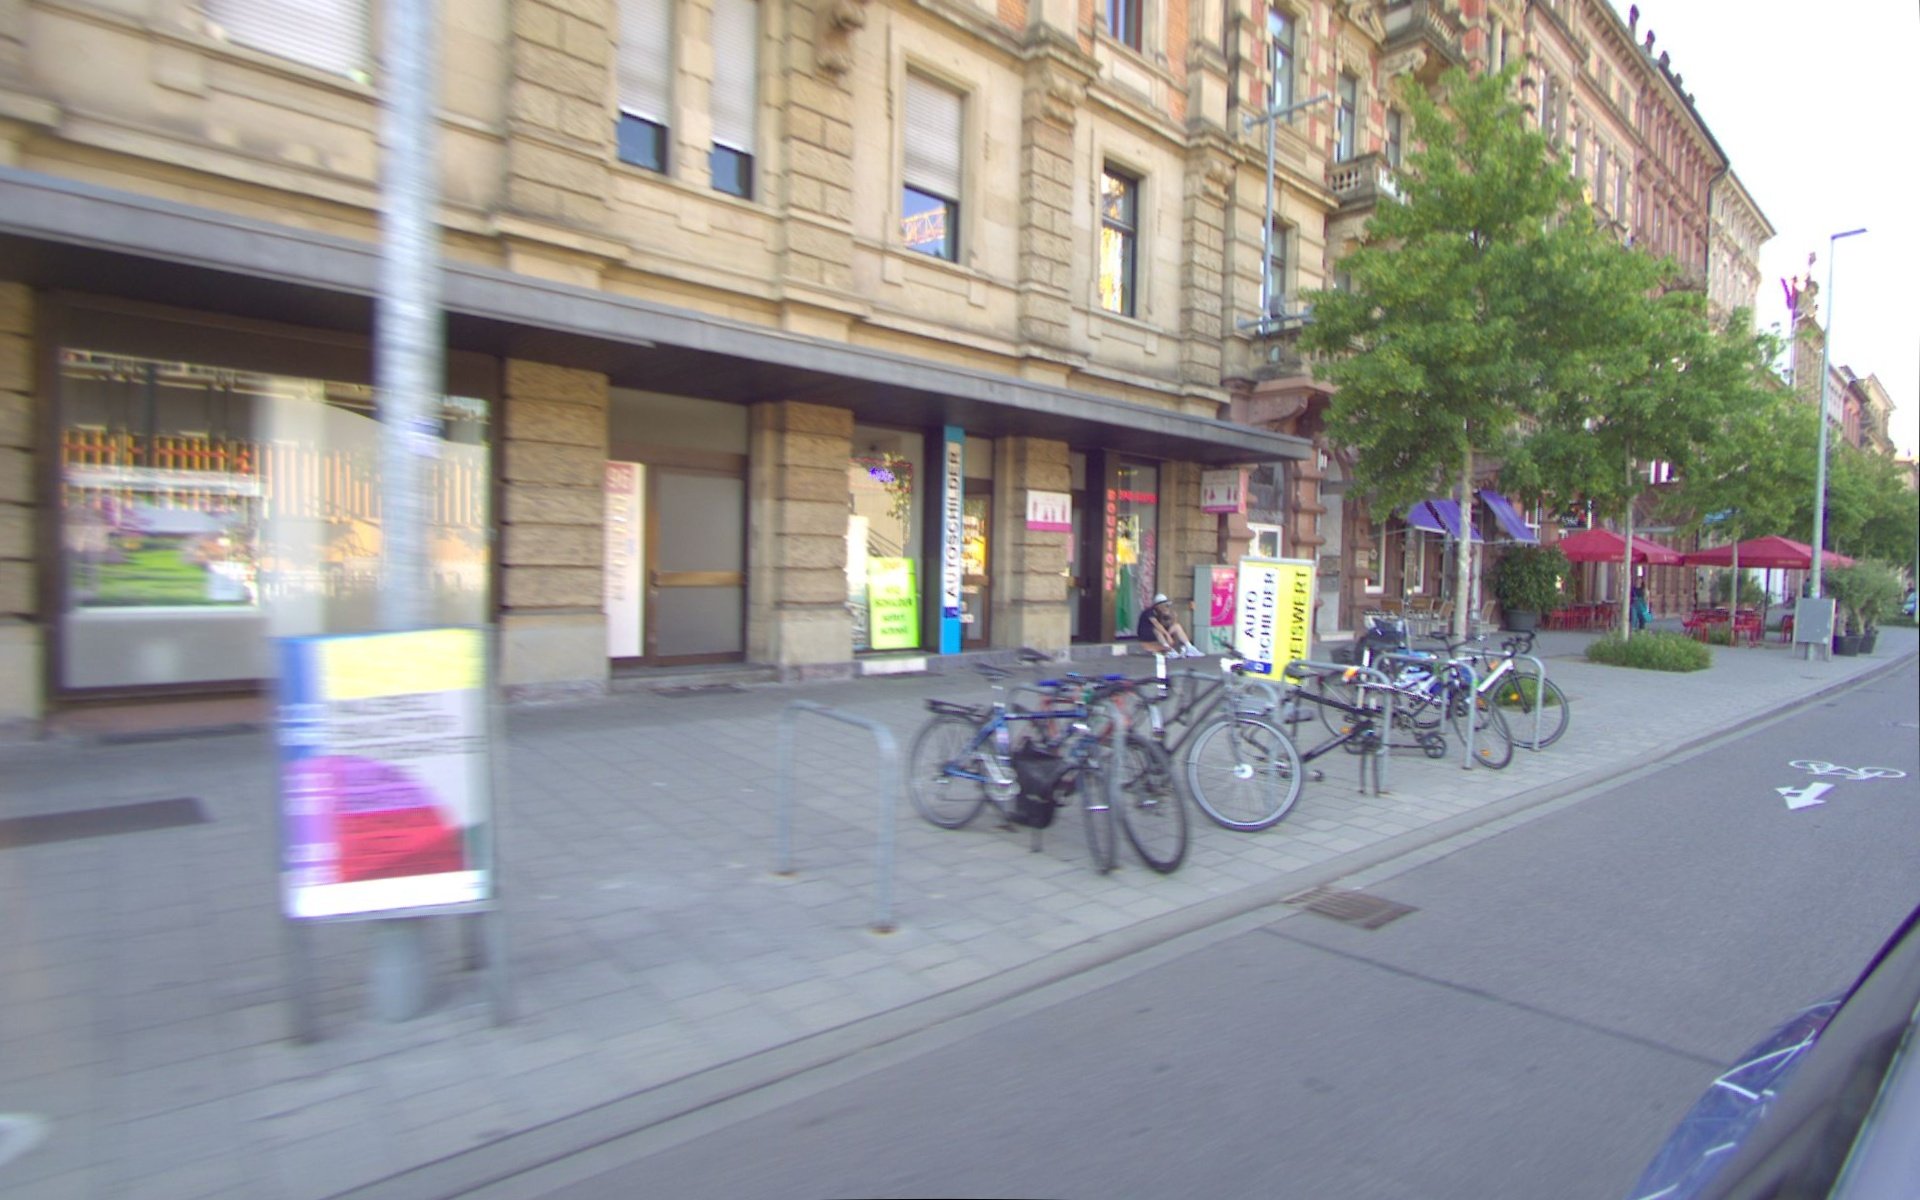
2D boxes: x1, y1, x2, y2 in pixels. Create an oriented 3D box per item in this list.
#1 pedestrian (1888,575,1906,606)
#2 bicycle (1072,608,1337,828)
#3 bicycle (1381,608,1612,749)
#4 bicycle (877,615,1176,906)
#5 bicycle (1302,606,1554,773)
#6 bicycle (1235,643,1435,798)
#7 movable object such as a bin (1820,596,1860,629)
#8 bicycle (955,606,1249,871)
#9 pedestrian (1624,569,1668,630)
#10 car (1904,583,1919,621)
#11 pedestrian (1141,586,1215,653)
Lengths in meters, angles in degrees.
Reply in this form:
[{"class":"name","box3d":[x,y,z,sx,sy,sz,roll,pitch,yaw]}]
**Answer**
[{"class":"pedestrian","box3d":[52.458,-0.527,56.652,0.566,1.750,0.482,0,1,2]},{"class":"bicycle","box3d":[1.519,0.681,6.588,0.497,1.117,1.727,-1,4,-36]},{"class":"bicycle","box3d":[4.975,0.676,9.507,0.555,1.060,1.811,-1,4,-36]},{"class":"bicycle","box3d":[0.258,0.712,5.233,0.497,1.117,1.760,-1,4,-36]},{"class":"bicycle","box3d":[3.868,0.684,8.524,0.555,1.118,1.851,-1,4,-36]},{"class":"bicycle","box3d":[2.700,0.829,7.390,0.497,0.887,1.279,-1,4,-36]},{"class":"movable object such as a bin","box3d":[26.893,0.388,30.931,0.549,0.935,0.679,-1,4,-22]},{"class":"bicycle","box3d":[0.702,0.656,5.607,0.497,1.117,1.760,-1,4,-36]},{"class":"pedestrian","box3d":[17.993,-0.021,26.534,0.783,1.552,0.729,-1,4,-43]},{"class":"car","box3d":[42.201,0.090,43.599,4.224,1.583,1.852,-1,4,-43]},{"class":"pedestrian","box3d":[3.381,0.285,15.701,0.790,0.974,0.815,-1,2,-41]}]
